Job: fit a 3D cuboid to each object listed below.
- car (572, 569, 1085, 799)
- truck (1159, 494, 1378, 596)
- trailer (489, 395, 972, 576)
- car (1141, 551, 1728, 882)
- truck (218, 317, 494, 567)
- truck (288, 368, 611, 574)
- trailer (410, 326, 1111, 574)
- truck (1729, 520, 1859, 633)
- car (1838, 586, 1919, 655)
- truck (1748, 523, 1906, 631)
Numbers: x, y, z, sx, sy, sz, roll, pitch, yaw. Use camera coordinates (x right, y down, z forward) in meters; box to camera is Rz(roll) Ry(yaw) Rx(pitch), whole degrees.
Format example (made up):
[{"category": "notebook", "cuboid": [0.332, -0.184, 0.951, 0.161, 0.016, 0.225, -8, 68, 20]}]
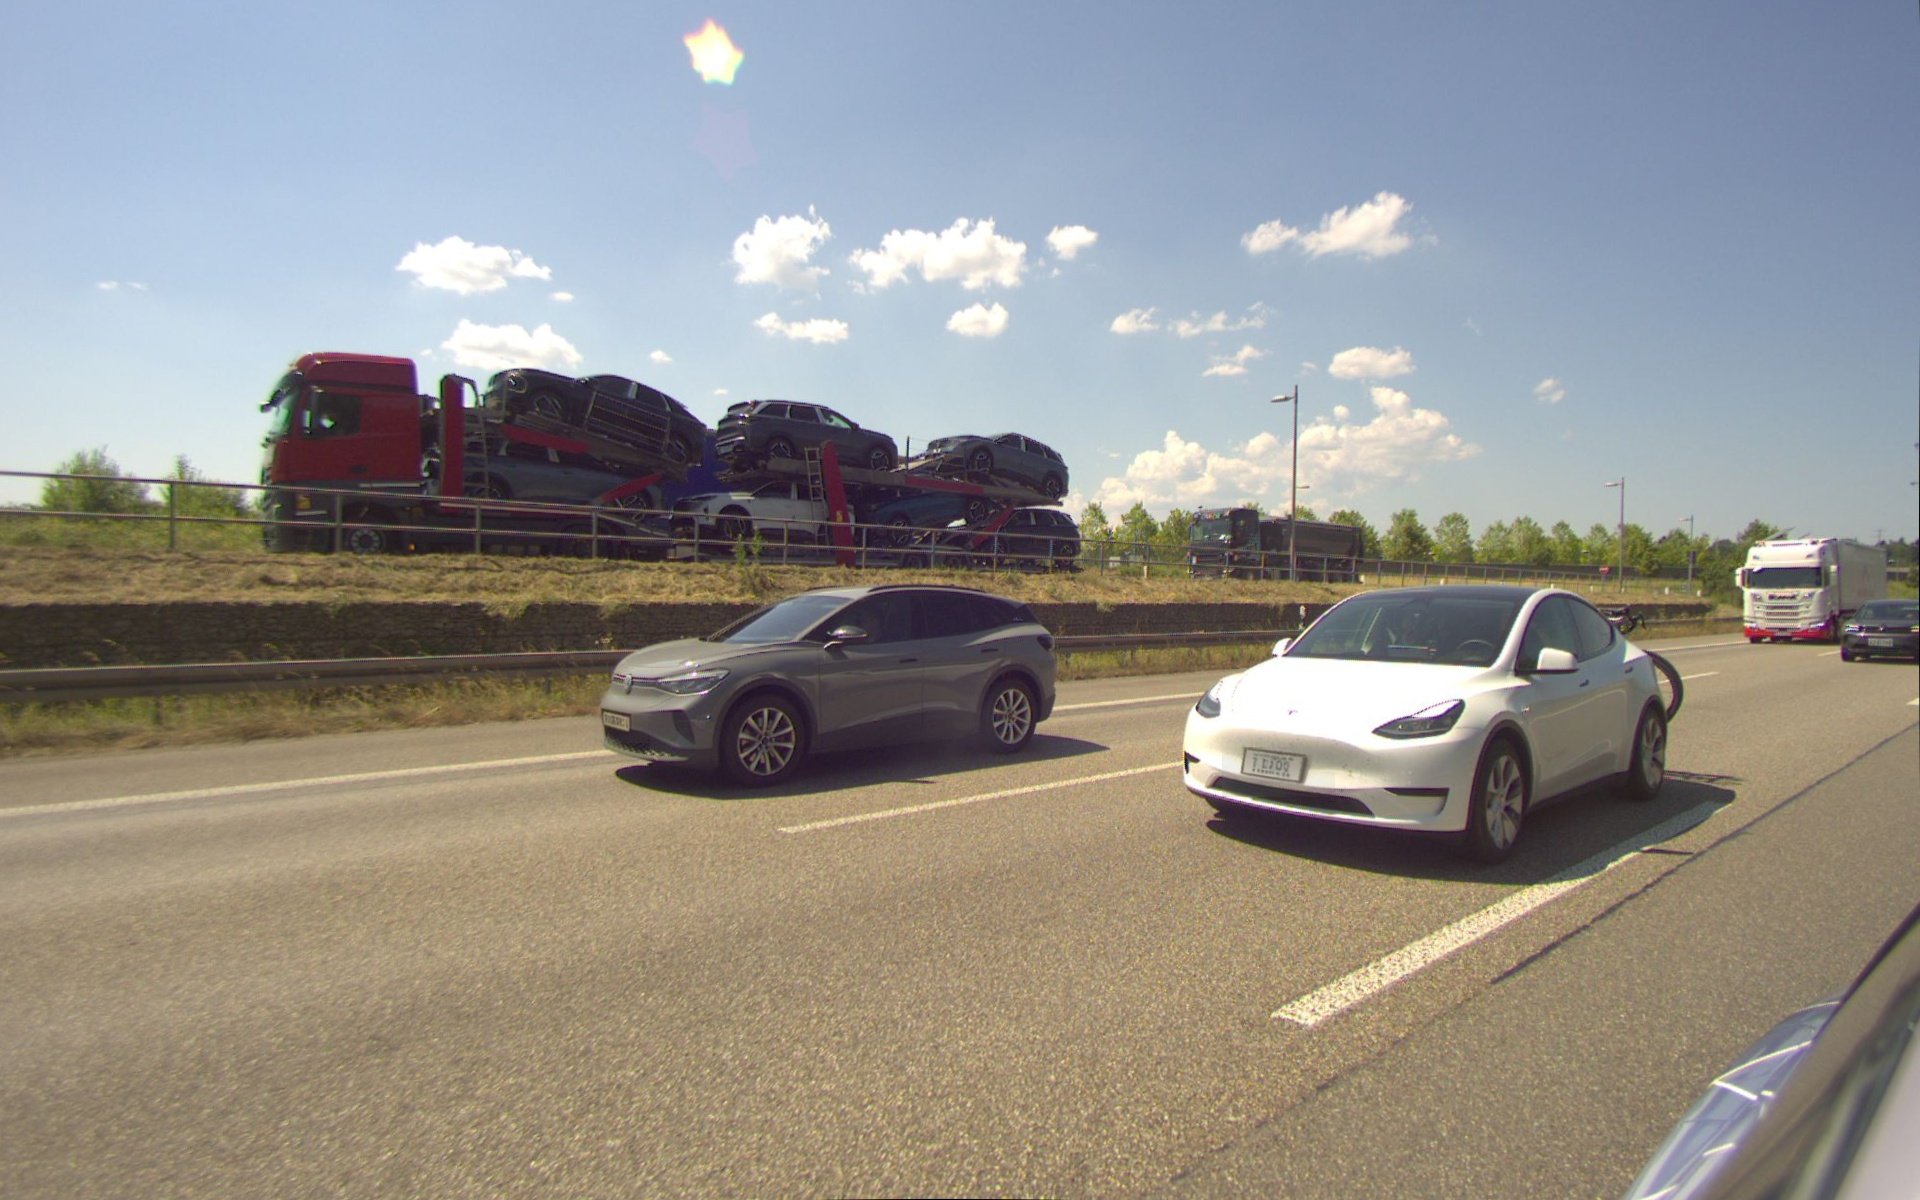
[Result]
[{"category": "car", "cuboid": [-1.037, 0.578, 9.486, 4.506, 1.657, 1.871, -1, 0, -41]}, {"category": "truck", "cuboid": [14.496, -2.306, 46.639, 12.302, 4.134, 3.794, -1, 0, -41]}, {"category": "trailer", "cuboid": [-5.841, -2.805, 29.479, 14.012, 4.134, 3.057, -1, 0, -42]}, {"category": "car", "cuboid": [3.884, 0.553, 7.623, 5.503, 1.657, 1.953, -1, 0, -41]}, {"category": "truck", "cuboid": [-10.928, -2.580, 18.370, 3.930, 3.875, 2.607, -1, 0, -41]}, {"category": "truck", "cuboid": [-11.955, -2.720, 23.983, 6.288, 4.135, 3.057, -1, 0, -42]}, {"category": "trailer", "cuboid": [-3.225, -2.862, 25.014, 18.099, 4.311, 2.610, -1, 0, -41]}, {"category": "truck", "cuboid": [31.158, -0.838, 37.804, 3.779, 3.957, 3.074, 0, 0, -40]}, {"category": "car", "cuboid": [24.550, 0.475, 26.288, 3.974, 1.667, 1.955, -1, 0, -39]}, {"category": "truck", "cuboid": [36.433, -0.899, 42.286, 12.283, 3.957, 3.074, -1, 0, -40]}]
